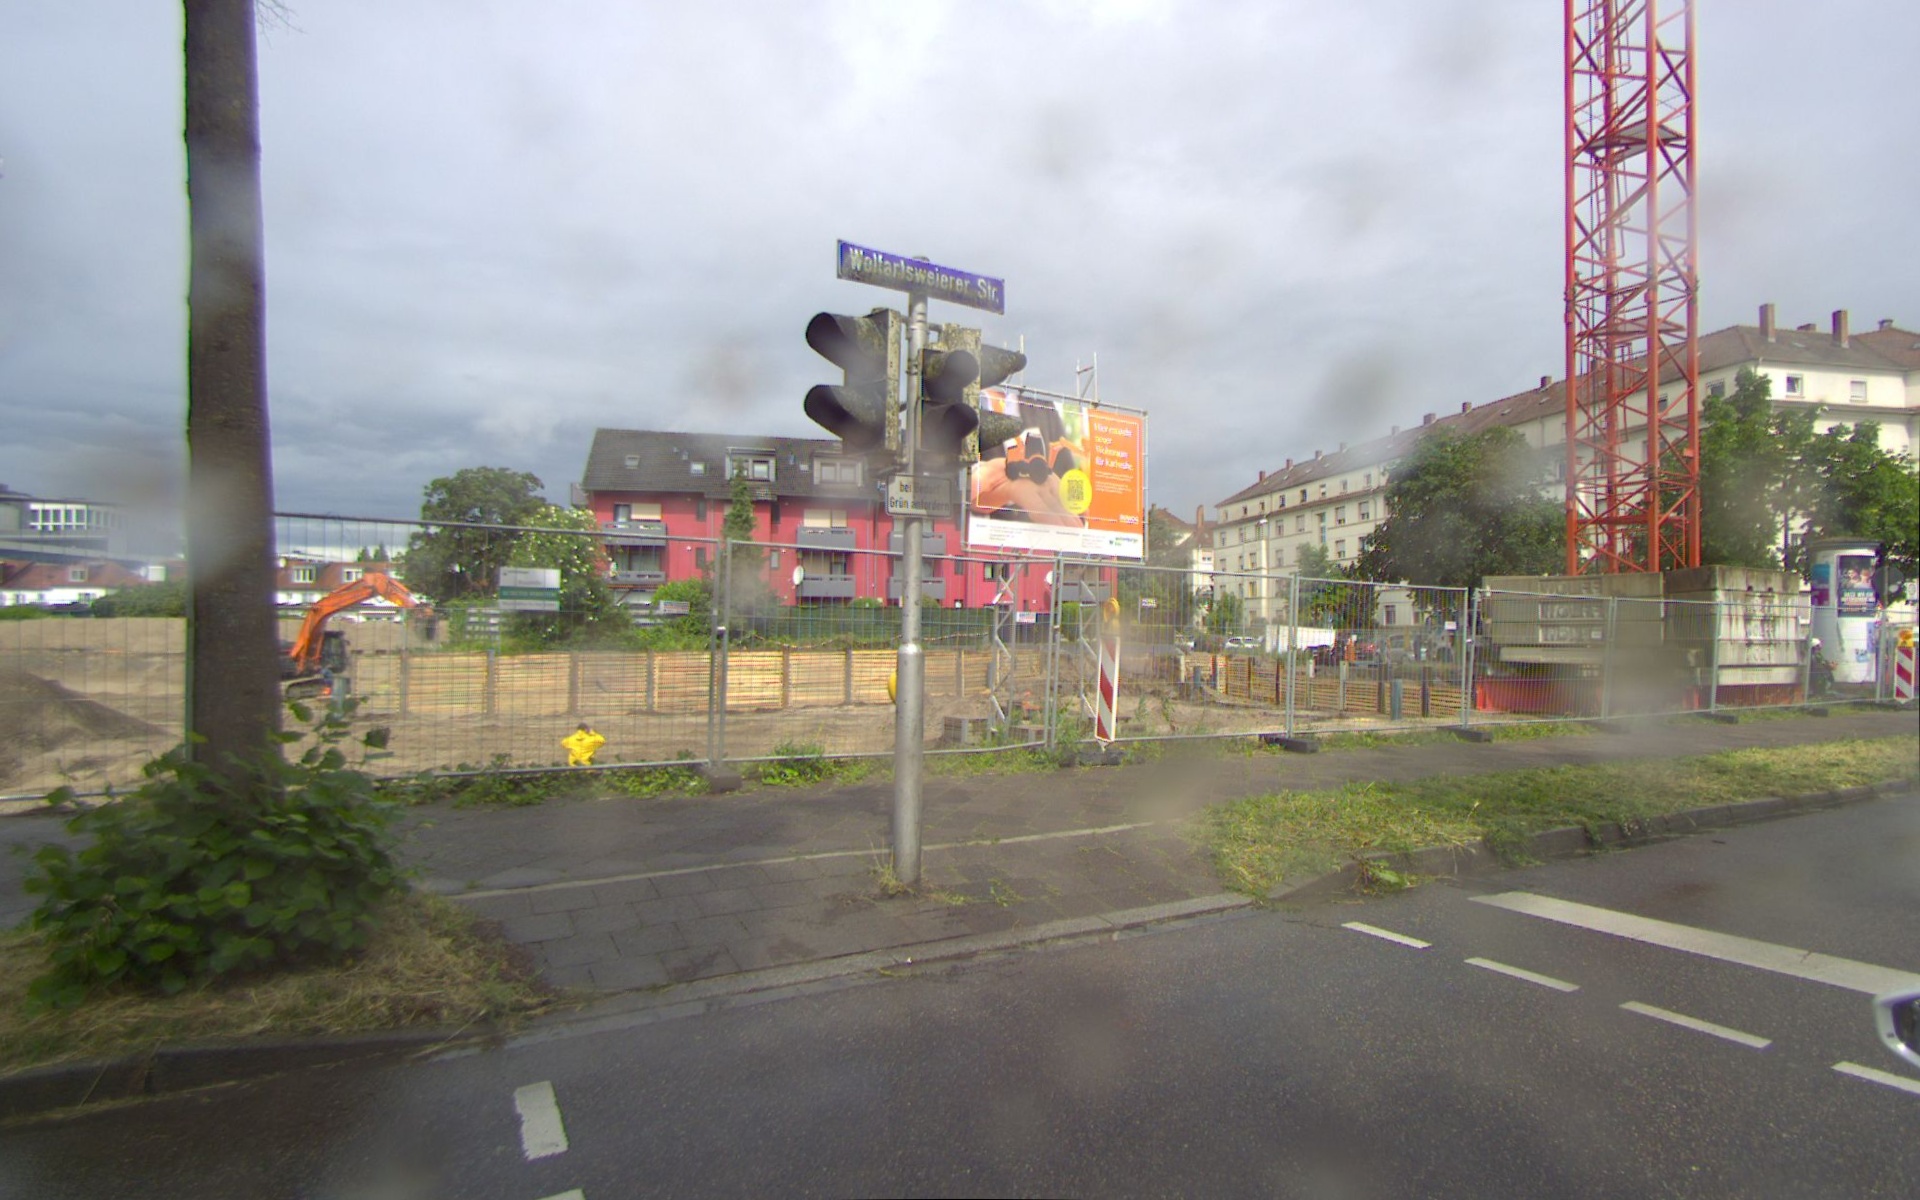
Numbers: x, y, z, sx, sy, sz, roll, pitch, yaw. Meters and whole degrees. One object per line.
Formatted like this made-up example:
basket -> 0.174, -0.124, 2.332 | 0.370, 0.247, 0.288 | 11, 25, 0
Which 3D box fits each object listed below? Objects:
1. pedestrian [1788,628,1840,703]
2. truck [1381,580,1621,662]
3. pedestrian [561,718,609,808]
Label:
pedestrian -> 19.760, 1.499, 23.250 | 0.710, 1.651, 0.684 | 2, 0, 23
truck -> 23.738, 1.068, 45.026 | 3.729, 3.226, 9.816 | 1, -3, -15
pedestrian -> -7.489, 3.225, 20.055 | 0.837, 1.706, 0.585 | 1, -5, -25
